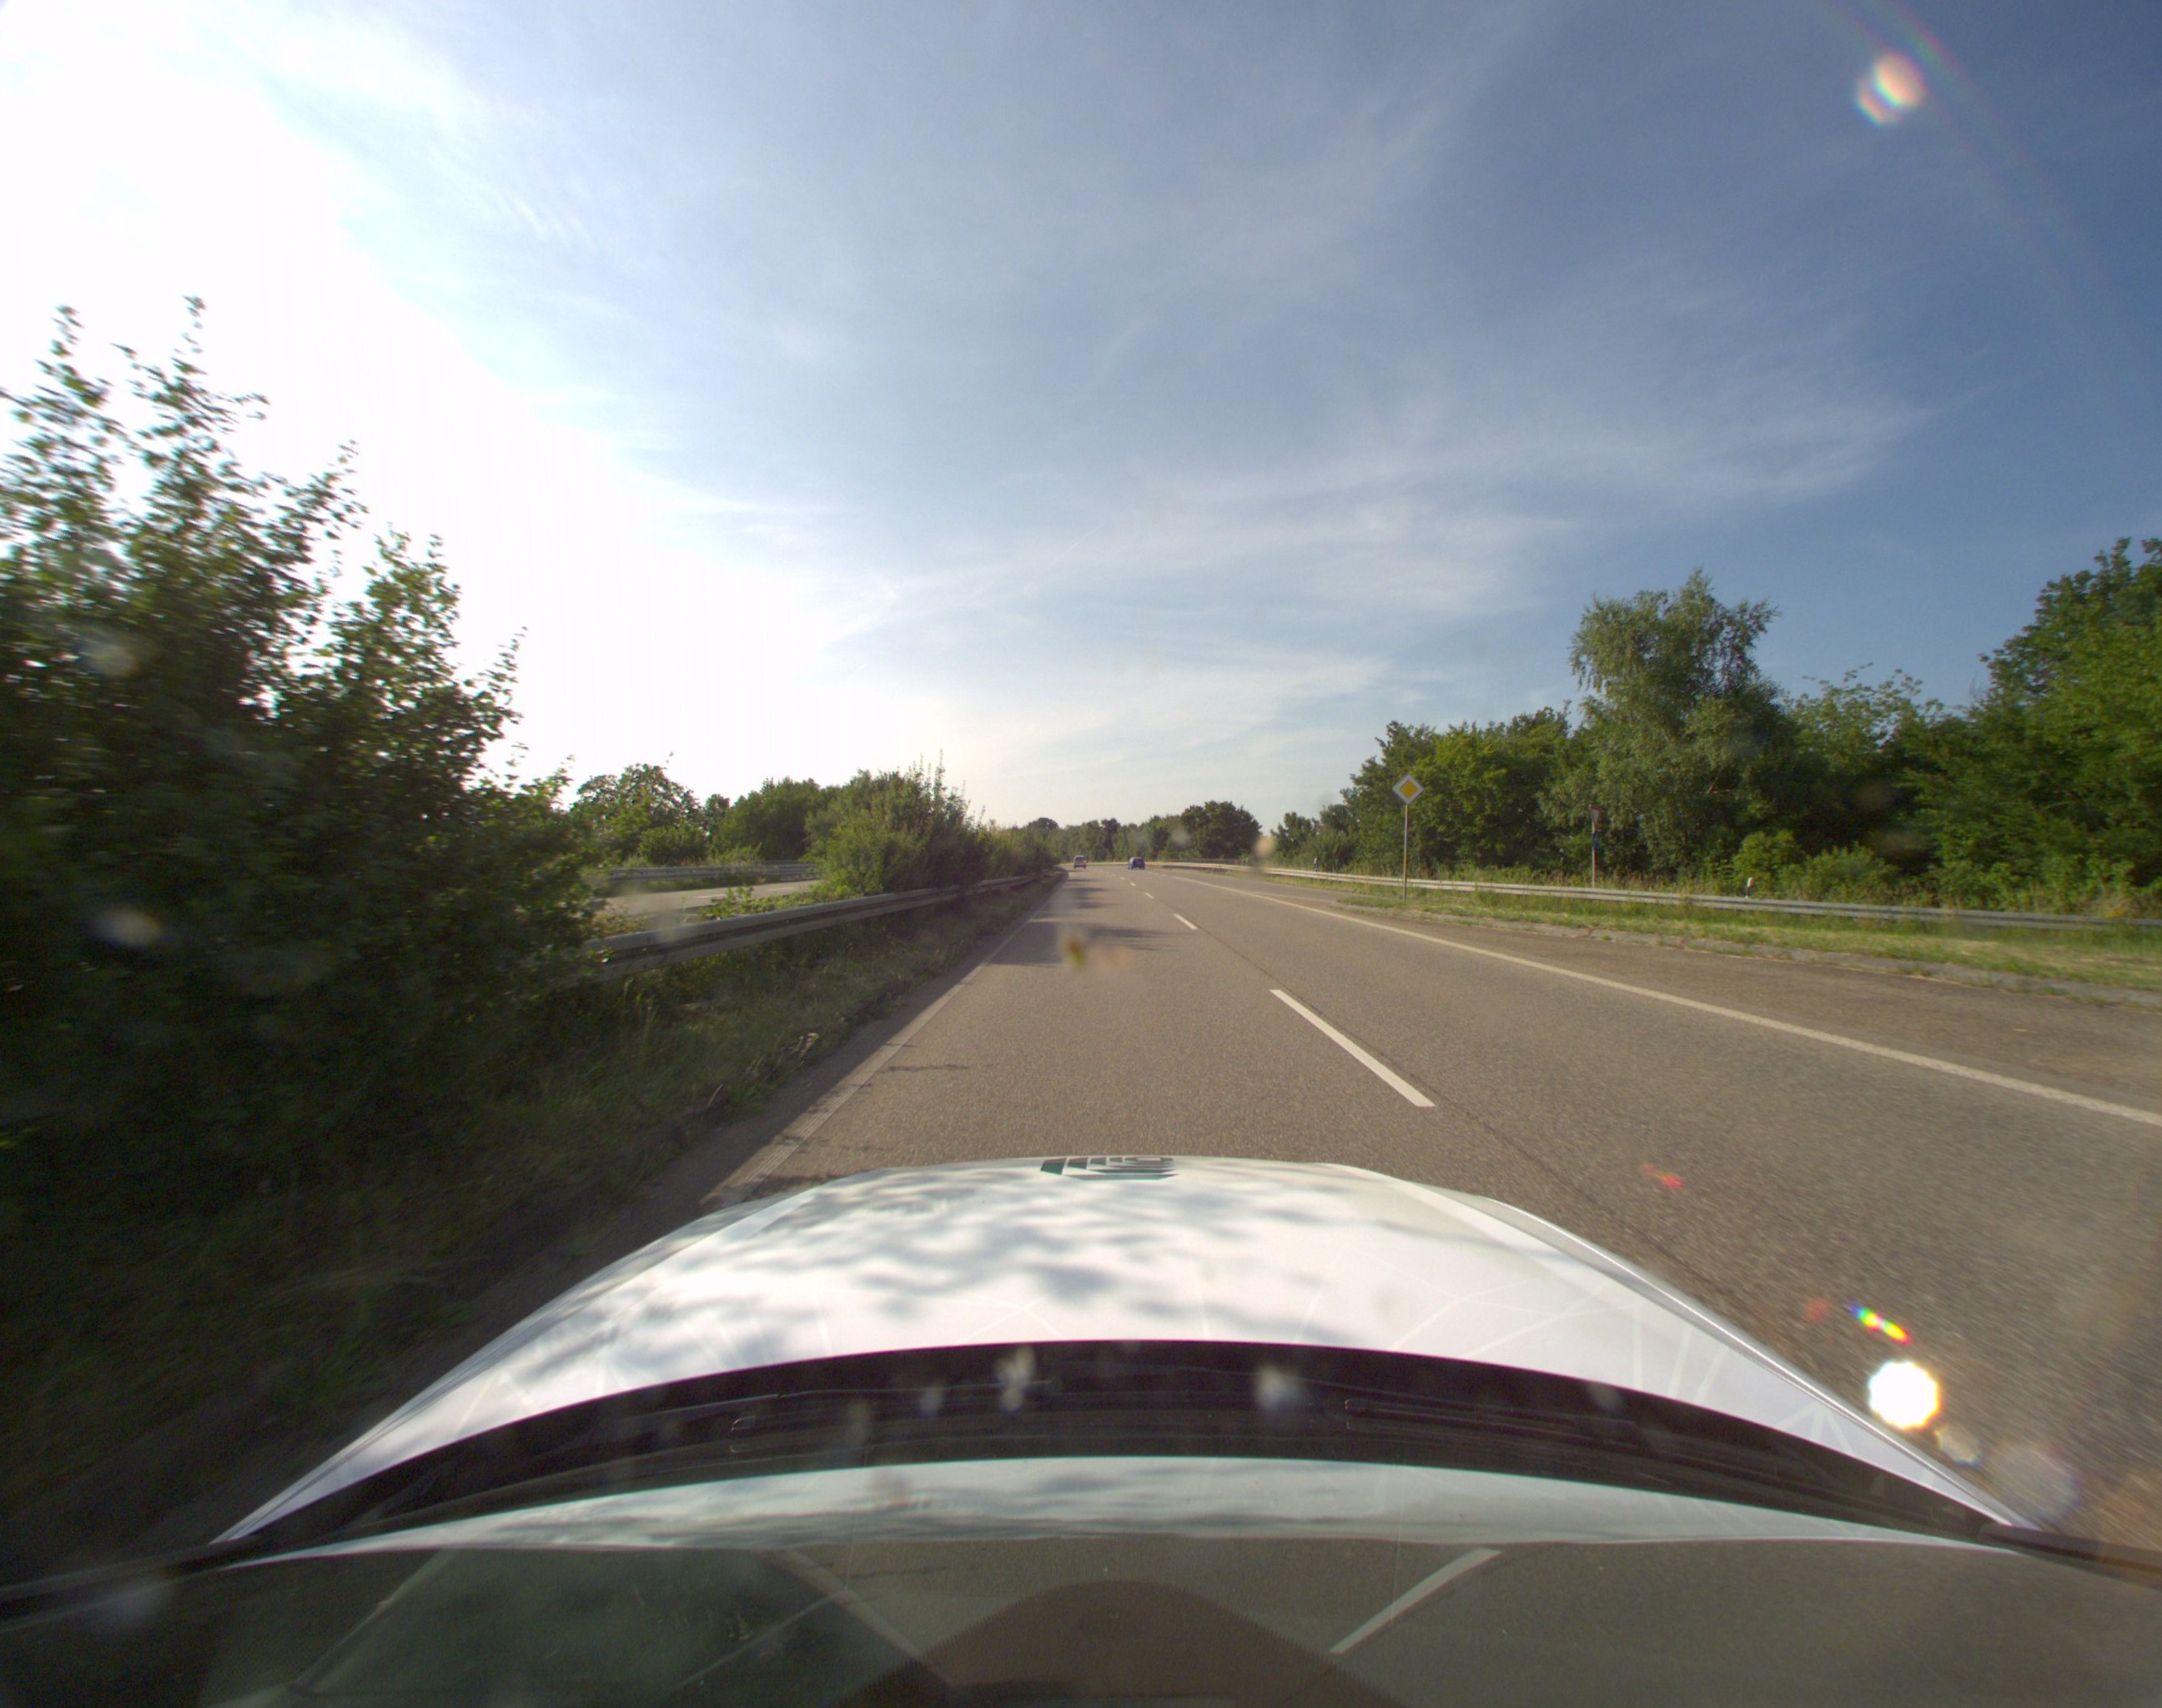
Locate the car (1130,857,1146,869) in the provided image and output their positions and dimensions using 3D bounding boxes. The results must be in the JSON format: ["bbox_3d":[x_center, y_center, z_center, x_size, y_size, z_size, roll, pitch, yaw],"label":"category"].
[{"bbox_3d":[7.043,1.158,100.575,1.772,1.452,4.000,-1,-1,1],"label":"car"}]

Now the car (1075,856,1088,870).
[{"bbox_3d":[0.069,1.316,117.515,1.760,1.882,4.000,-1,-1,0],"label":"car"}]
